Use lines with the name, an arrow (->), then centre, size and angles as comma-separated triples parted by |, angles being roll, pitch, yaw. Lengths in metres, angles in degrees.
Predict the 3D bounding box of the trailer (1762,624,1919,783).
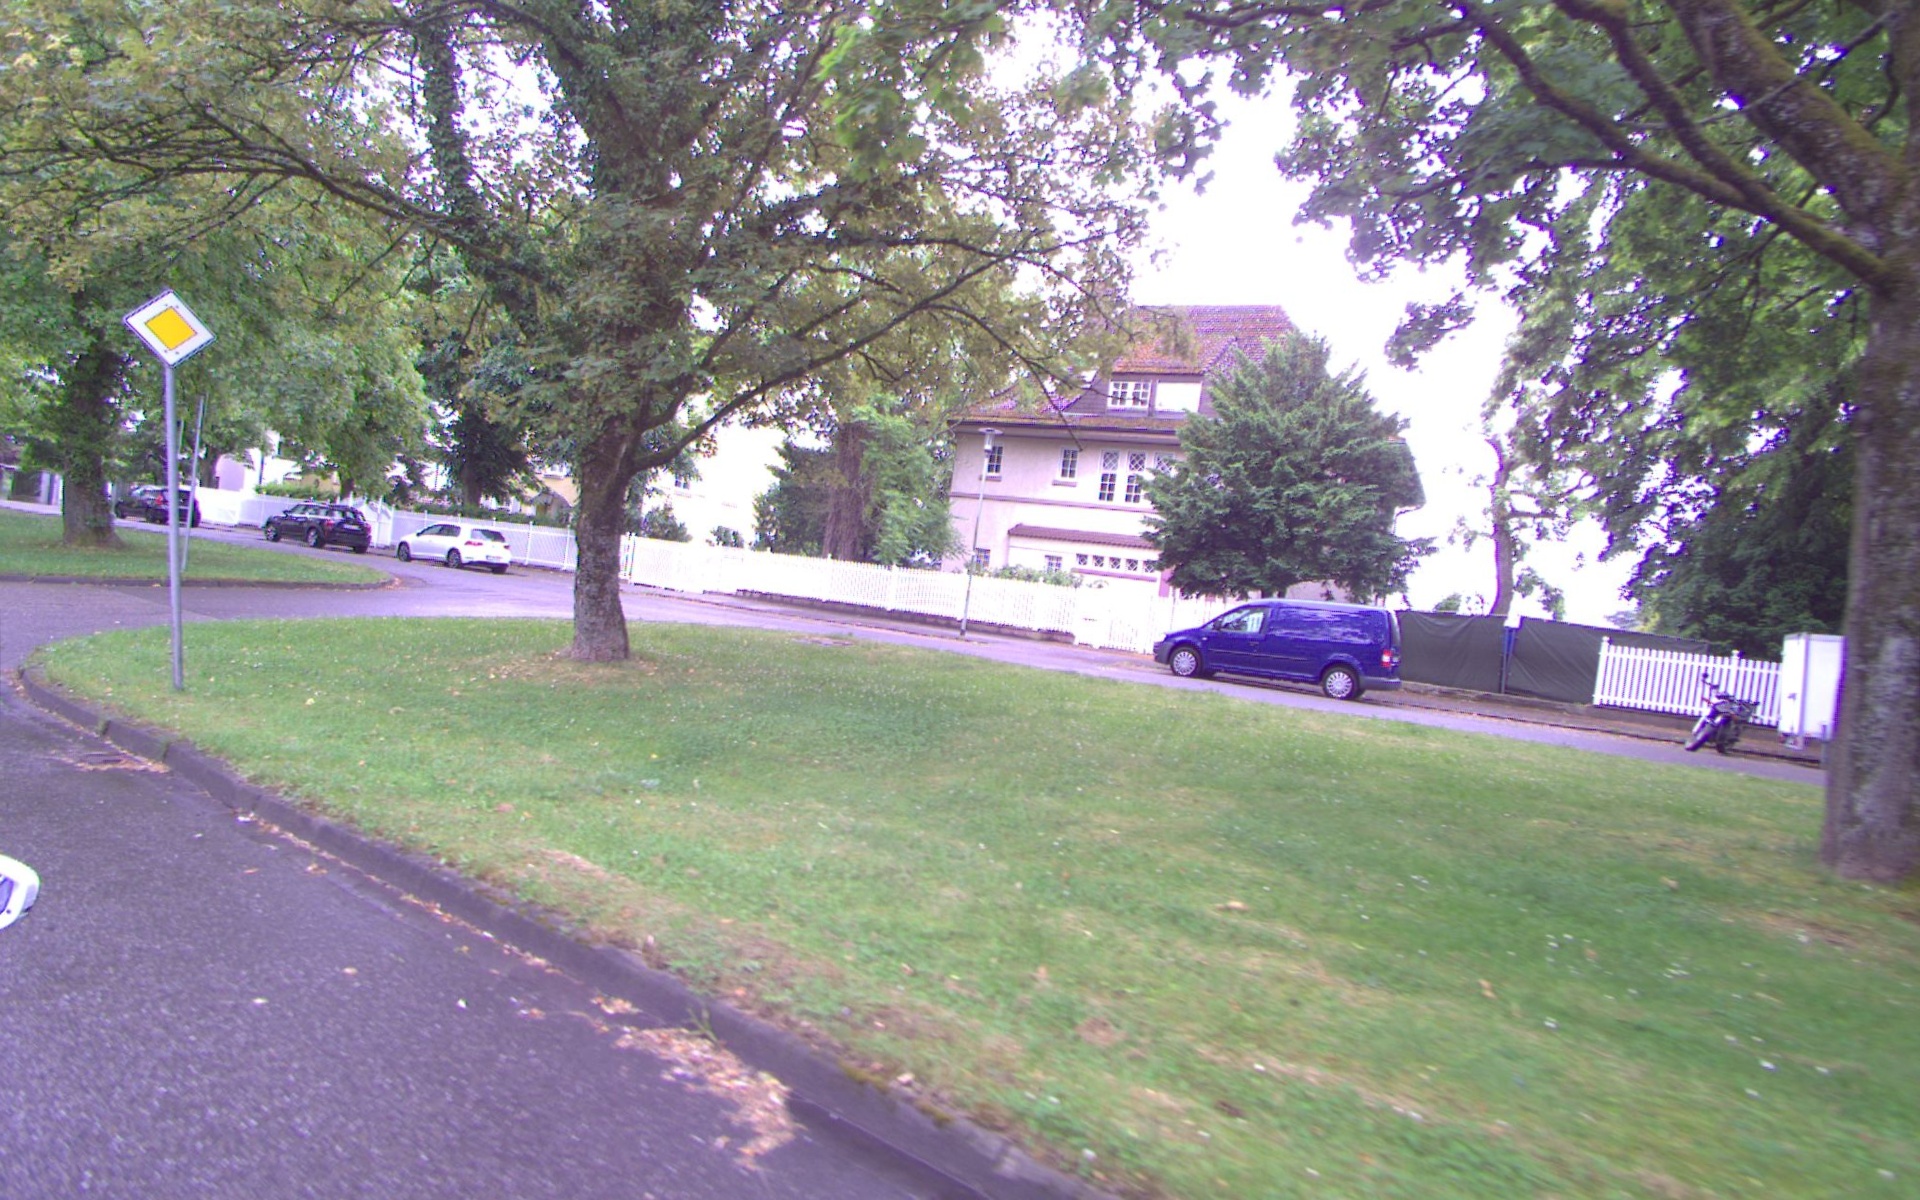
trailer -> 14.488, 1.638, 15.475 | 2.899, 2.182, 1.438 | 7, 2, 27

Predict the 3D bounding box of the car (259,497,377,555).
car -> -22.852, -2.626, 35.777 | 4.042, 1.550, 1.803 | 8, 2, 30

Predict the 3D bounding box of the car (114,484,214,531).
car -> -32.976, -3.825, 41.652 | 4.042, 1.430, 1.803 | 8, 2, 30

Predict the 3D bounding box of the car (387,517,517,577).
car -> -16.326, -1.700, 32.298 | 3.939, 1.428, 1.618 | 8, 2, 27

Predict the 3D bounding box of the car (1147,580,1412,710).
car -> 6.331, 0.821, 20.078 | 4.569, 1.833, 1.943 | 8, 3, 29

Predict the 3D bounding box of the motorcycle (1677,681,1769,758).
motorcycle -> 12.462, 1.961, 16.408 | 1.876, 1.106, 0.651 | 7, 1, -39
